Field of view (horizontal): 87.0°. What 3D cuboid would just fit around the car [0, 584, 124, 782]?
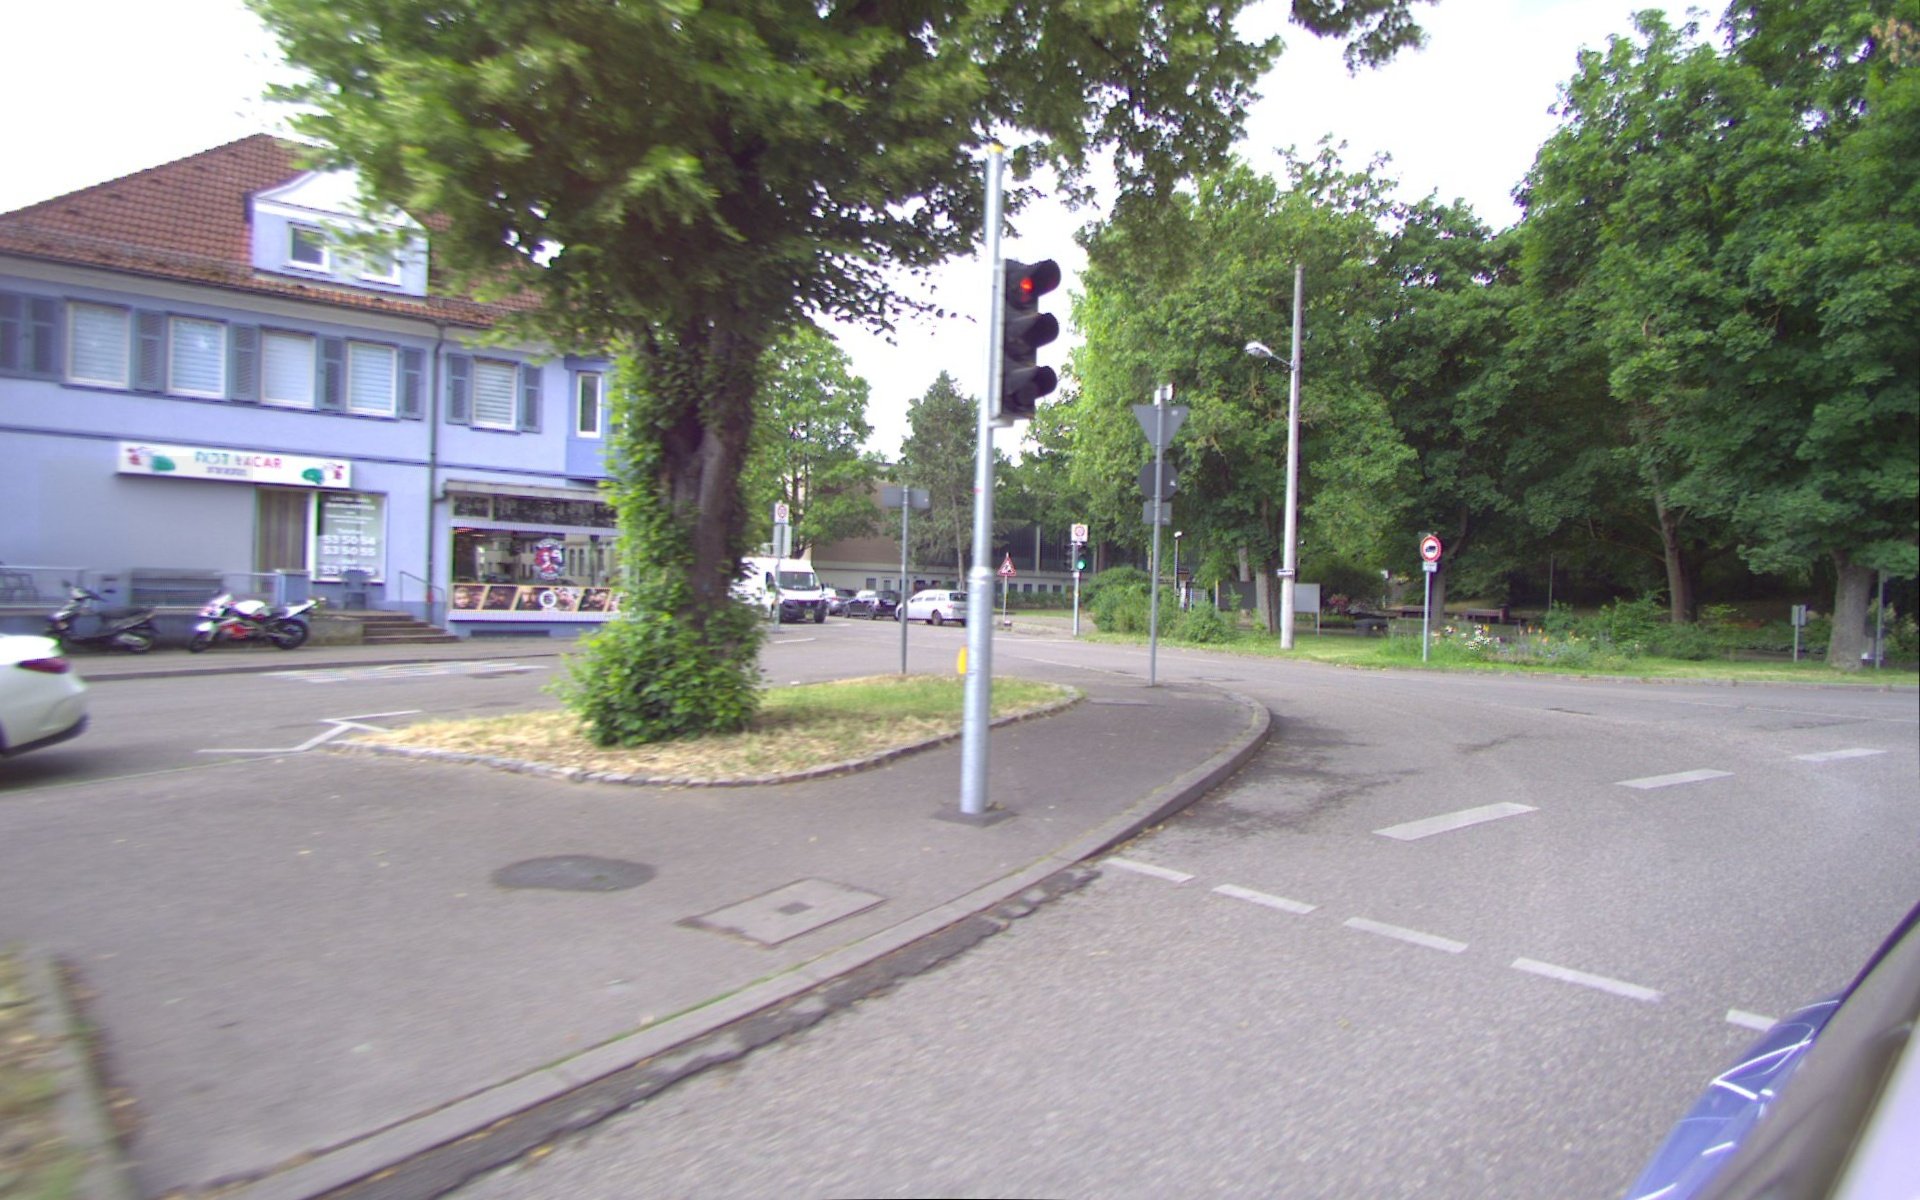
[{"bbox_3d":[-8.632,0.623,6.440,1.981,1.403,4.743,2,2,27],"label":"car"}]

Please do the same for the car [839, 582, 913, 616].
[{"bbox_3d":[-3.992,-0.048,47.496,1.766,1.474,3.961,1,1,-33],"label":"car"}]

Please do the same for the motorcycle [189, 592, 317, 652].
[{"bbox_3d":[-12.625,0.373,18.121,0.518,0.998,1.800,2,1,35],"label":"motorcycle"}]

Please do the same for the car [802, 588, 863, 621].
[{"bbox_3d":[-6.539,0.213,51.651,1.678,1.505,3.763,1,2,-32],"label":"car"}]

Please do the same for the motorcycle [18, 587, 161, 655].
[{"bbox_3d":[-14.177,0.327,16.524,0.487,1.044,1.703,2,1,35],"label":"motorcycle"}]

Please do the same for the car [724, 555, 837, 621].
[{"bbox_3d":[-7.278,-0.524,40.368,2.290,2.422,5.963,1,1,-33],"label":"car"}]

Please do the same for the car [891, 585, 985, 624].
[{"bbox_3d":[-1.010,0.151,42.894,1.863,1.474,4.549,1,1,-33],"label":"car"}]
